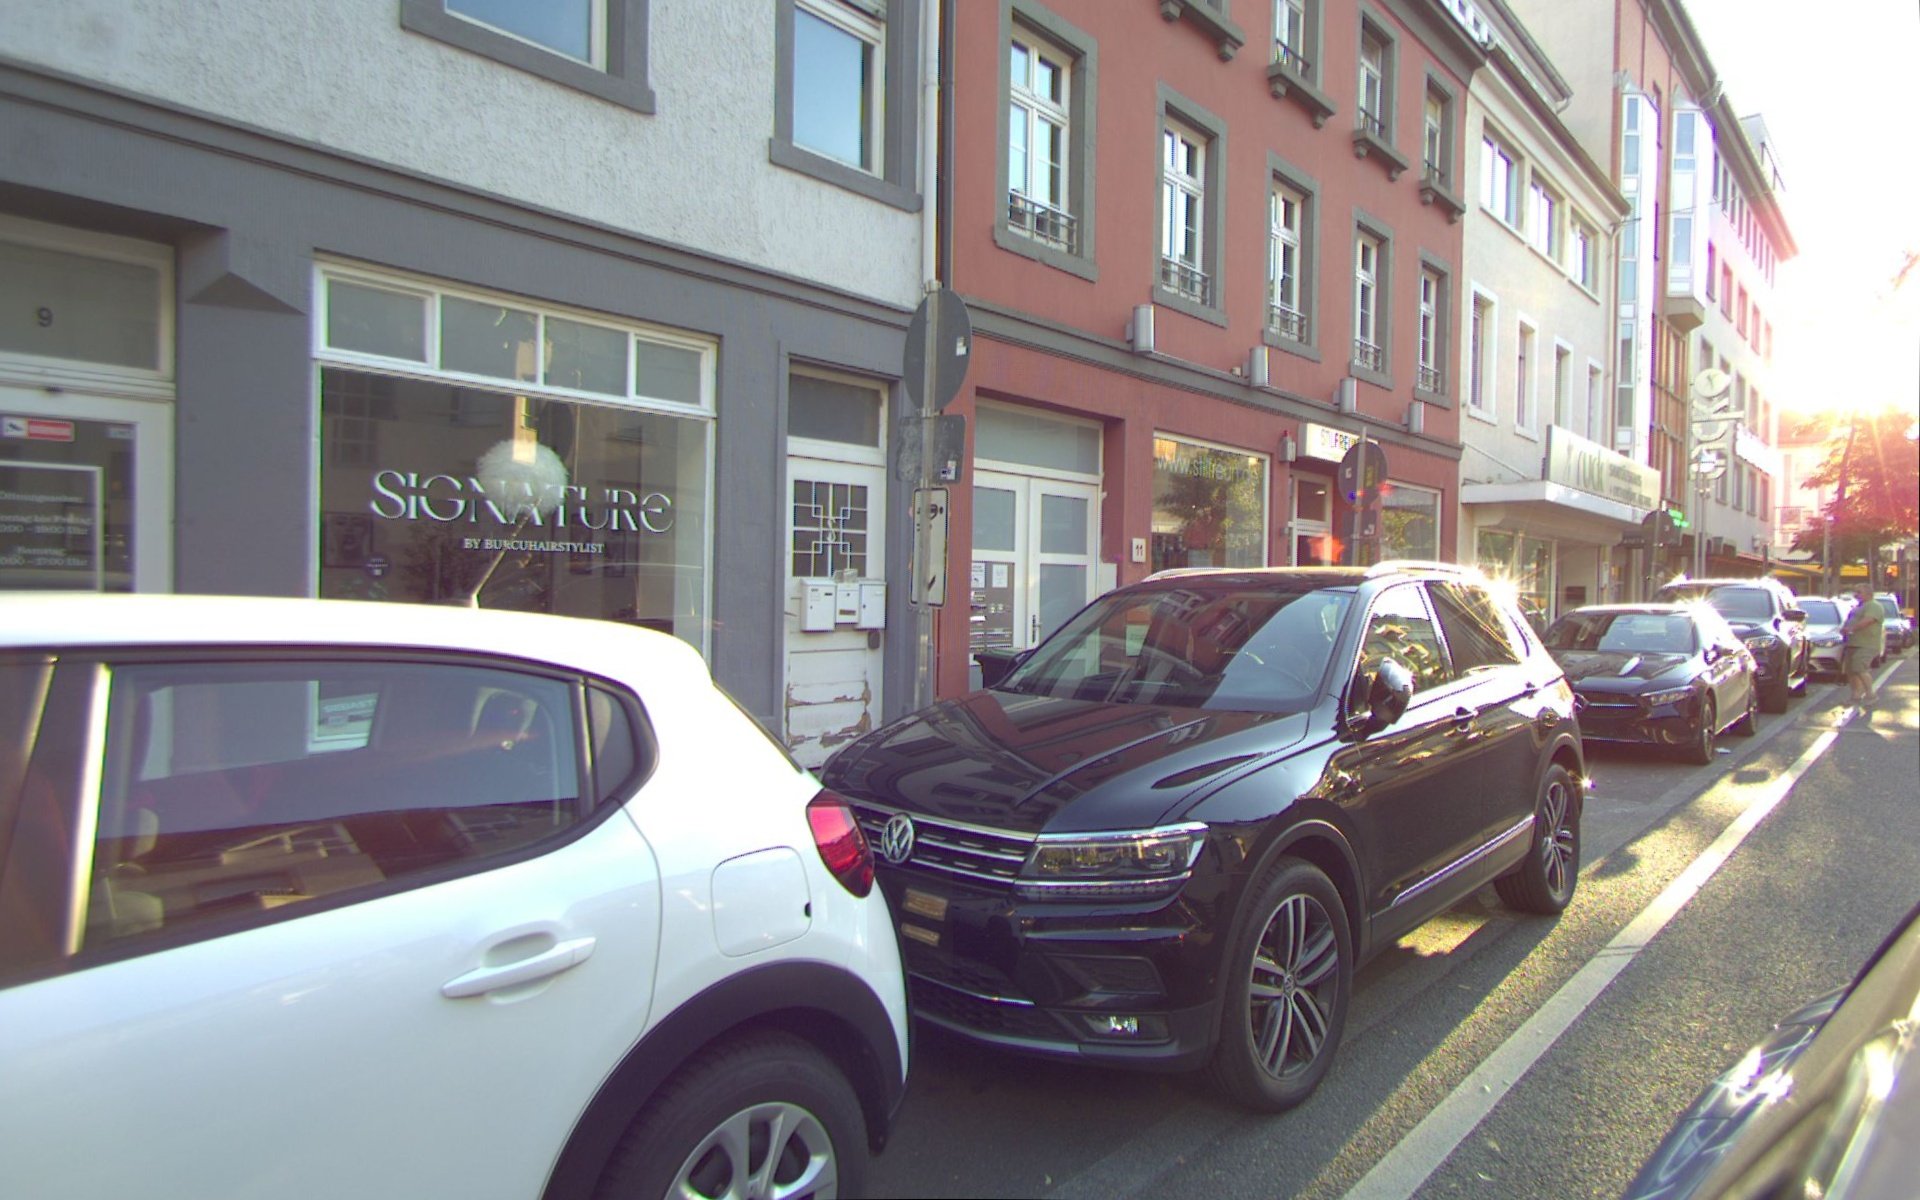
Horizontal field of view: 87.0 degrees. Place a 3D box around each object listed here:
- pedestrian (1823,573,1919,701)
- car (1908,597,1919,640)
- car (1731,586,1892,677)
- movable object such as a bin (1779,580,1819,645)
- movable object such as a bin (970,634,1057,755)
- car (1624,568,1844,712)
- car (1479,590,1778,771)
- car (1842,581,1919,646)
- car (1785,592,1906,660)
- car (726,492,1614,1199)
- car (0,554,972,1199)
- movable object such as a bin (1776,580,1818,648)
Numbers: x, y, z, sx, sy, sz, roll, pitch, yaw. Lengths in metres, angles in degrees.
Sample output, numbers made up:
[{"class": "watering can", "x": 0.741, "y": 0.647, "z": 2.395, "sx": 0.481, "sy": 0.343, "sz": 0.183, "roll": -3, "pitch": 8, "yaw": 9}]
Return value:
[{"class": "pedestrian", "x": 12.876, "y": 0.493, "z": 14.172, "sx": 0.896, "sy": 1.697, "sz": 0.986, "roll": 2, "pitch": 1, "yaw": 22}, {"class": "car", "x": 32.556, "y": 0.591, "z": 33.311, "sx": 1.937, "sy": 1.394, "sz": 4.116, "roll": 0, "pitch": 0, "yaw": 44}, {"class": "car", "x": 16.663, "y": 0.514, "z": 19.710, "sx": 4.909, "sy": 1.546, "sz": 1.814, "roll": -1, "pitch": 1, "yaw": -43}, {"class": "movable object such as a bin", "x": 23.808, "y": 0.345, "z": 28.712, "sx": 0.834, "sy": 1.796, "sz": 1.188, "roll": 0, "pitch": 0, "yaw": 42}, {"class": "movable object such as a bin", "x": 0.453, "y": 0.778, "z": 8.564, "sx": 0.553, "sy": 0.950, "sz": 0.477, "roll": 1, "pitch": 1, "yaw": 44}, {"class": "car", "x": 11.519, "y": 0.457, "z": 14.910, "sx": 4.976, "sy": 1.776, "sz": 1.884, "roll": -1, "pitch": 1, "yaw": -44}, {"class": "car", "x": 7.147, "y": 0.657, "z": 10.628, "sx": 4.236, "sy": 1.502, "sz": 1.763, "roll": -1, "pitch": 1, "yaw": -44}, {"class": "car", "x": 27.370, "y": 0.391, "z": 30.088, "sx": 1.653, "sy": 1.801, "sz": 3.950, "roll": 0, "pitch": 0, "yaw": 42}, {"class": "car", "x": 20.791, "y": 0.553, "z": 23.694, "sx": 4.434, "sy": 1.438, "sz": 1.754, "roll": 0, "pitch": 0, "yaw": -44}, {"class": "car", "x": 1.264, "y": 0.565, "z": 4.433, "sx": 4.136, "sy": 1.689, "sz": 1.813, "roll": -1, "pitch": 1, "yaw": -44}, {"class": "car", "x": -1.888, "y": 0.647, "z": 1.534, "sx": 3.740, "sy": 1.395, "sz": 1.668, "roll": -1, "pitch": 1, "yaw": -44}, {"class": "movable object such as a bin", "x": 22.962, "y": 0.362, "z": 27.748, "sx": 0.834, "sy": 1.796, "sz": 1.333, "roll": 0, "pitch": 0, "yaw": 42}]
